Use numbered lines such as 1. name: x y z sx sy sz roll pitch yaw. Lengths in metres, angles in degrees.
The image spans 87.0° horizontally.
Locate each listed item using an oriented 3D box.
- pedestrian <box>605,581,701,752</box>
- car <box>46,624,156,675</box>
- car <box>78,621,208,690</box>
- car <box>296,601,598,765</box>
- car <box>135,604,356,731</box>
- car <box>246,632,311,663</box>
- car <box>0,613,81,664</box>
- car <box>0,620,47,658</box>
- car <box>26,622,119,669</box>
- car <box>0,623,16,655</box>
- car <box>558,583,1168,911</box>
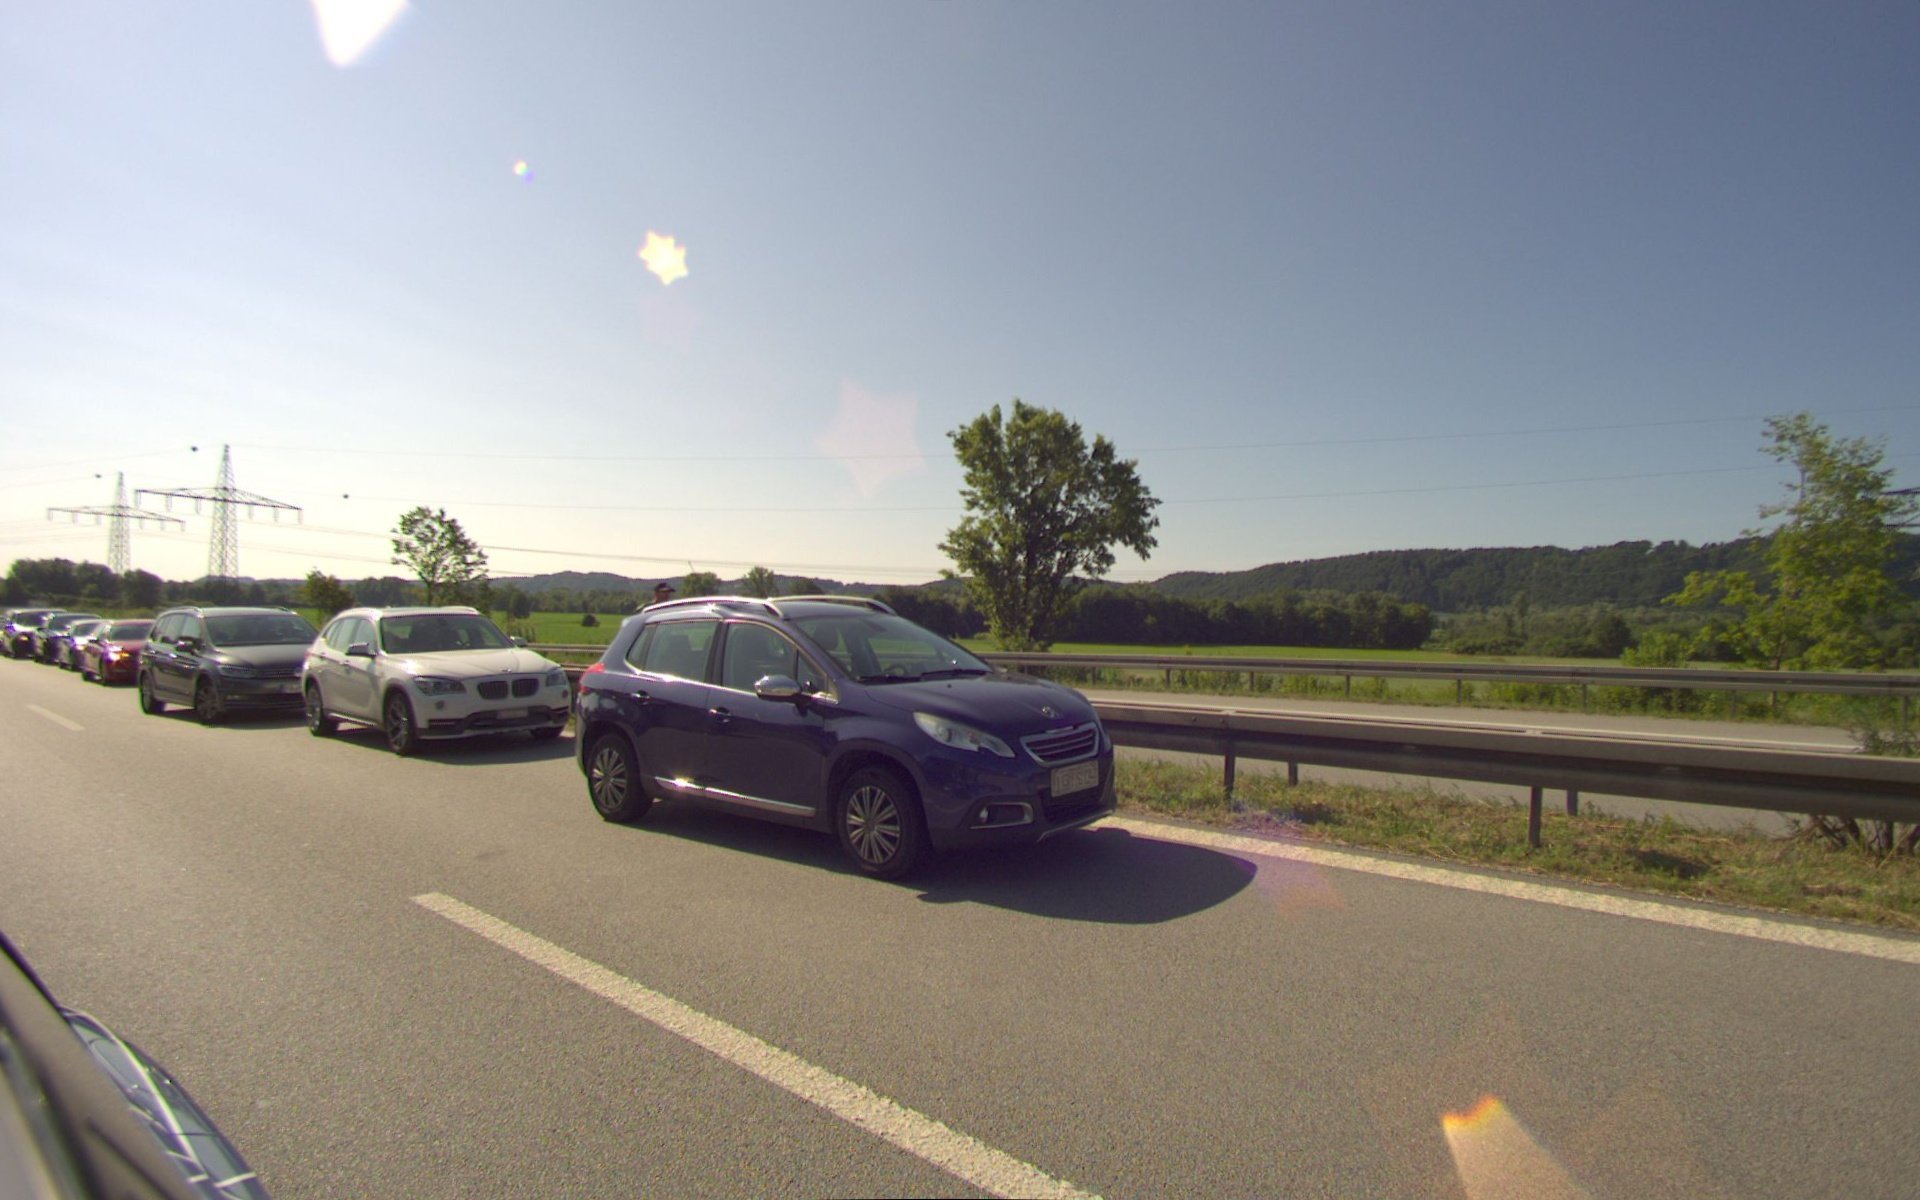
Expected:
1. pedestrian: -3.327 0.698 10.974 0.814 1.764 0.663 -1 -2 41
2. car: -25.258 1.401 29.716 3.998 1.409 1.870 -1 -2 41
3. car: -19.076 1.233 23.573 4.117 1.470 1.795 -1 -2 43
4. car: -6.114 0.842 11.852 4.163 1.586 1.808 -1 -1 42
5. car: -10.786 0.912 15.179 4.115 1.628 1.796 -1 -1 41
6. car: -34.663 2.371 51.443 4.565 1.424 1.694 -1 -1 42
7. car: -34.933 1.435 38.338 4.198 1.801 1.877 -1 -2 41
8. car: -40.411 1.625 42.961 3.998 1.542 1.973 -1 -2 41
9. car: -29.719 1.480 33.862 3.999 1.466 1.869 -1 -2 42
10. car: -47.407 1.877 49.067 3.998 1.542 1.973 -1 -2 41
11. car: -0.814 0.715 6.676 3.944 1.546 1.671 -1 0 39
